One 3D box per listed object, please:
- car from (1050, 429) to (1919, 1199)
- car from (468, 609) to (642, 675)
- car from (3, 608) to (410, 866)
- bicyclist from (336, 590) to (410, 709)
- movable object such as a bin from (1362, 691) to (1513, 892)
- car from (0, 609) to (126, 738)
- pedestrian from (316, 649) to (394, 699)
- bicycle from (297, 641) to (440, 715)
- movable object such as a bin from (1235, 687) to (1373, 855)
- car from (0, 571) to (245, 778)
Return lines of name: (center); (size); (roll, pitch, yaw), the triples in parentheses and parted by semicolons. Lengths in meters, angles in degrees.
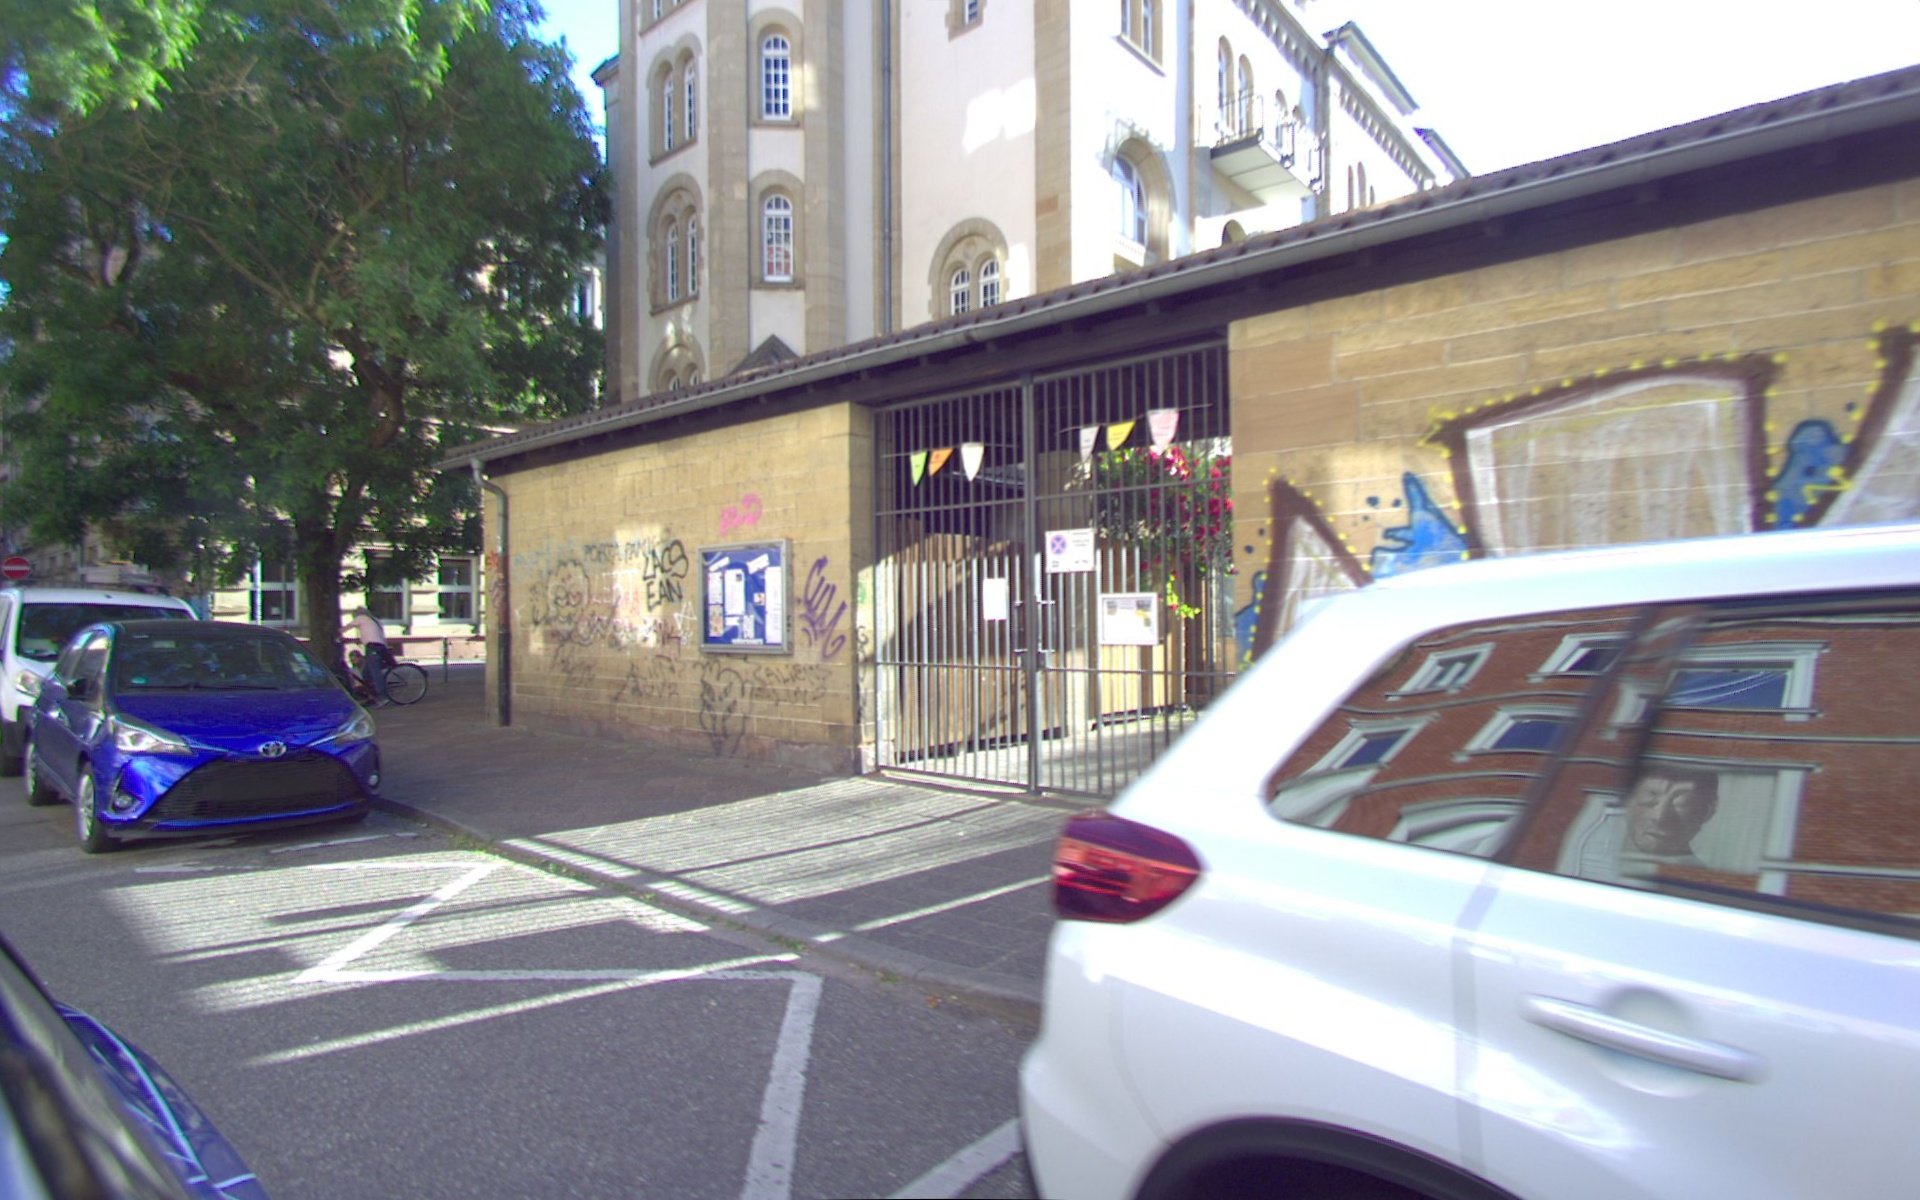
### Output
car: (2.164, 0.620, 0.962); (3.867, 1.598, 1.724); (-1, -1, 41)
car: (-10.784, 1.100, 27.116); (1.769, 1.610, 3.946); (-4, -2, 40)
car: (-5.908, 0.866, 7.776); (3.858, 1.488, 1.670); (-2, -3, 41)
bicyclist: (-9.037, 0.739, 15.578); (0.795, 1.736, 0.693); (-4, 2, -41)
movable object such as a bin: (2.415, 0.931, 5.116); (0.570, 0.882, 0.477); (-2, -1, 41)
car: (-13.762, 0.987, 14.699); (4.284, 1.659, 1.723); (-2, -2, 39)
pedestrian: (-10.151, 1.229, 17.001); (0.697, 0.784, 0.914); (-1, -1, 17)
bicycle: (-9.059, 1.164, 15.535); (1.740, 0.930, 0.828); (-4, 1, -41)
movable object such as a bin: (1.900, 0.916, 5.602); (0.590, 0.813, 0.448); (-2, -1, 41)
car: (-9.724, 0.737, 11.383); (4.464, 1.876, 1.826); (-2, -2, 42)
